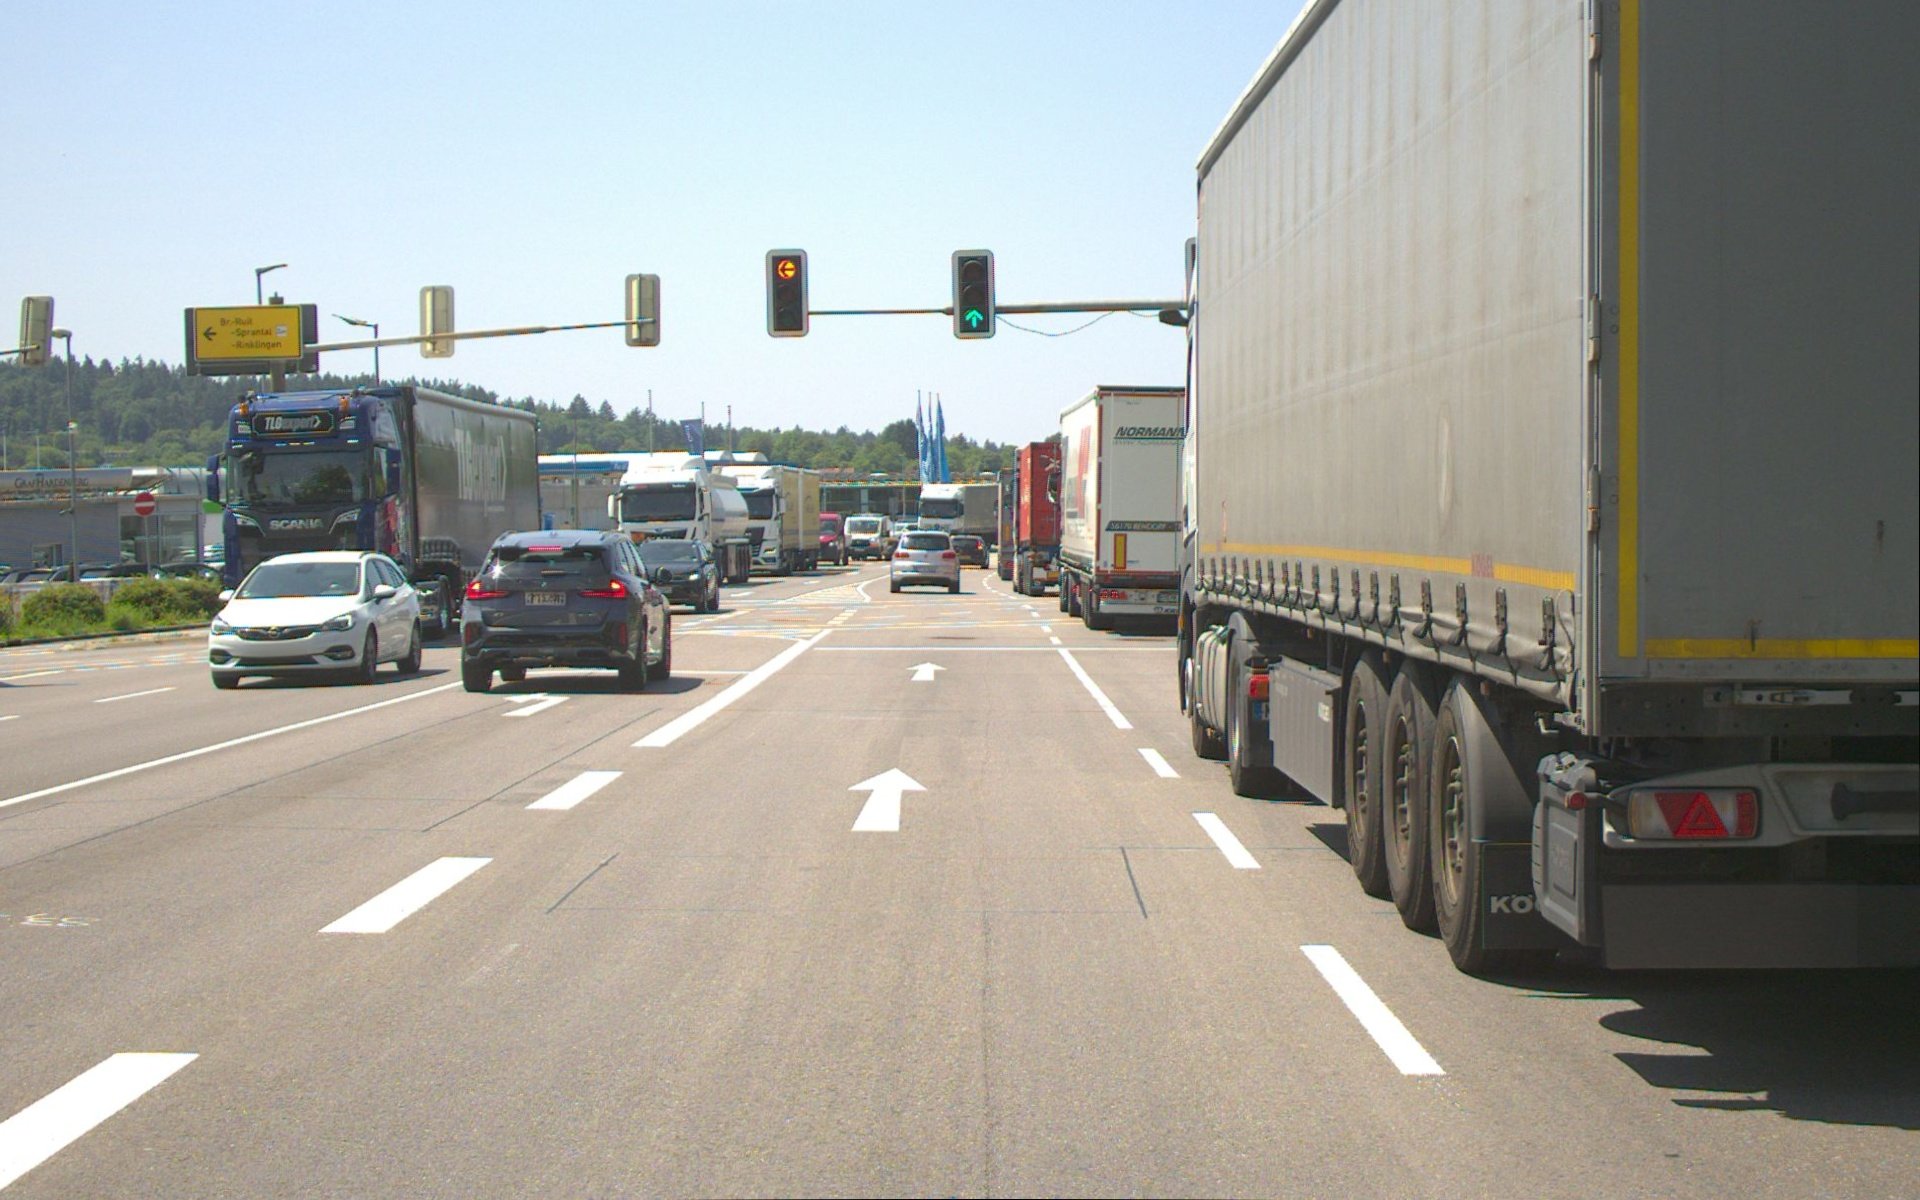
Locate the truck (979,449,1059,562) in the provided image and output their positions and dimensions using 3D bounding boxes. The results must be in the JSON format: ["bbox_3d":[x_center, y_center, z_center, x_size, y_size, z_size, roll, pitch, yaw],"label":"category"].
[{"bbox_3d":[2.012,-3.244,120.738,2.608,3.704,9.449,0,0,0],"label":"truck"}]

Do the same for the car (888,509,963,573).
[{"bbox_3d":[-0.904,-1.586,92.207,1.805,1.664,4.291,0,1,2],"label":"car"}]

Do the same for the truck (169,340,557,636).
[{"bbox_3d":[-9.957,-1.861,60.132,3.146,4.334,17.542,-2,1,2],"label":"truck"}]

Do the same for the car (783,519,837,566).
[{"bbox_3d":[-6.659,-2.554,152.690,1.994,2.007,3.999,0,0,3],"label":"car"}]

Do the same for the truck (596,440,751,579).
[{"bbox_3d":[-8.668,-2.739,105.857,2.934,3.936,14.237,-1,1,2],"label":"truck"}]

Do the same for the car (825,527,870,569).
[{"bbox_3d":[-5.578,-2.559,170.433,1.905,2.007,3.999,0,0,3],"label":"car"}]

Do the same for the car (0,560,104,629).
[{"bbox_3d":[-28.396,-0.180,105.056,1.941,2.007,3.992,0,1,37],"label":"car"}]

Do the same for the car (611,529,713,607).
[{"bbox_3d":[-6.094,-0.672,70.631,1.664,1.503,3.905,-2,1,1],"label":"car"}]

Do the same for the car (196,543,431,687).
[{"bbox_3d":[-7.360,0.164,39.535,1.740,1.498,4.406,-2,0,1],"label":"car"}]

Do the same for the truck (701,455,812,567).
[{"bbox_3d":[-7.614,-3.323,130.423,2.934,3.936,13.865,-1,1,2],"label":"truck"}]

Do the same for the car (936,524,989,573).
[{"bbox_3d":[0.112,-2.212,146.705,1.994,2.007,4.000,-1,1,3],"label":"car"}]

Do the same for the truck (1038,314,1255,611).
[{"bbox_3d":[3.095,-2.142,61.948,2.875,4.623,16.655,0,0,0],"label":"truck"}]

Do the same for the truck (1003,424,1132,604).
[{"bbox_3d":[2.781,-2.133,93.966,2.875,4.463,16.655,0,0,0],"label":"truck"}]

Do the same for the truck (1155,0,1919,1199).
[{"bbox_3d":[2.892,-0.638,17.293,2.755,4.623,16.655,0,0,0],"label":"truck"}]

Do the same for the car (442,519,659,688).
[{"bbox_3d":[-4.198,-0.008,35.820,1.793,1.621,4.370,-1,1,-1],"label":"car"}]

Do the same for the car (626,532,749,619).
[{"bbox_3d":[-4.977,-0.480,63.310,1.810,1.503,4.947,-1,1,0],"label":"car"}]

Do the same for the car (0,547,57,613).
[{"bbox_3d":[-30.175,-0.596,106.268,1.941,2.007,3.992,0,1,37],"label":"car"}]

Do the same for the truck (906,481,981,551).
[{"bbox_3d":[-0.932,-5.081,211.496,3.271,3.936,13.862,0,0,5],"label":"truck"}]
